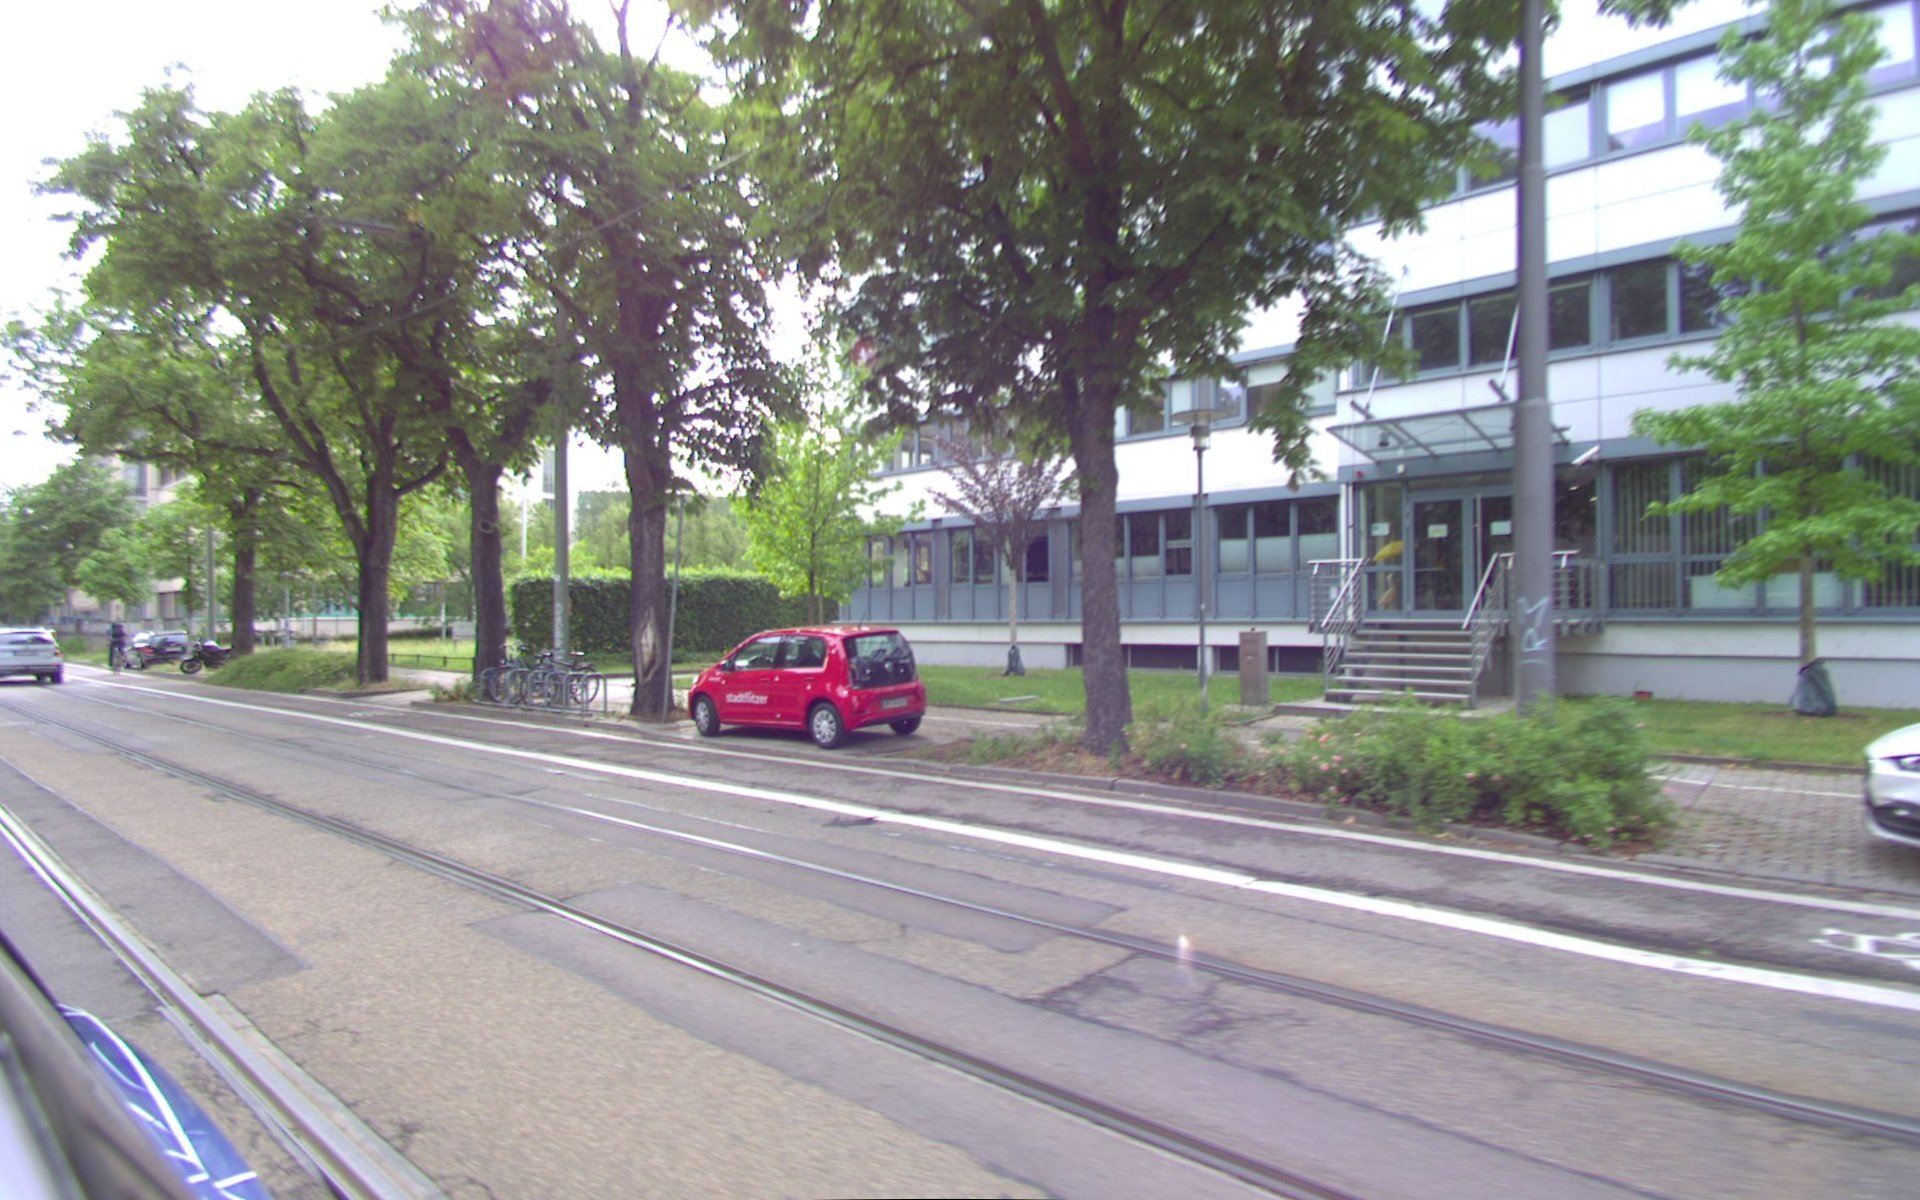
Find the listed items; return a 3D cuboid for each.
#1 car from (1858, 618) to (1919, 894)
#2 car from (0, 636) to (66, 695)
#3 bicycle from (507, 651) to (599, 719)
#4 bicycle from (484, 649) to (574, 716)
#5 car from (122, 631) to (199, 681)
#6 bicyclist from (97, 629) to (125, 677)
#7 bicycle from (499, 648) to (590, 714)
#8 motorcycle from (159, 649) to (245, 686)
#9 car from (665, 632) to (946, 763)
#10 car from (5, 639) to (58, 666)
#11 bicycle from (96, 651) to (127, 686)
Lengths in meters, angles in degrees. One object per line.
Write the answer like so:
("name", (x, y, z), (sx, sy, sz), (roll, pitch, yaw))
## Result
("car", (7.587, 0.817, 4.912), (4.751, 1.505, 1.862), (-2, -1, 41))
("car", (-26.174, 1.755, 27.837), (4.257, 1.510, 1.723), (-2, -2, 40))
("bicycle", (-7.210, 1.481, 17.994), (0.614, 1.100, 1.460), (-1, -1, 28))
("bicycle", (-8.159, 1.537, 19.202), (0.617, 1.149, 1.454), (-2, -1, 40))
("car", (-30.445, 2.076, 38.499), (4.001, 1.722, 1.790), (-2, -1, 44))
("bicyclist", (-28.155, 1.757, 33.552), (0.628, 1.549, 0.955), (0, -1, -45))
("bicycle", (-7.747, 1.492, 18.909), (0.617, 1.149, 1.454), (-2, -2, 40))
("motorcycle", (-24.232, 2.157, 32.392), (2.100, 1.111, 0.776), (-1, -1, -8))
("car", (-2.164, 1.198, 13.693), (3.752, 1.458, 1.612), (-1, 1, 38))
("car", (-54.422, 3.072, 59.295), (3.949, 1.444, 1.825), (-1, -1, 41))
("bicycle", (-28.148, 2.266, 33.546), (0.628, 1.058, 1.994), (0, -1, -45))
